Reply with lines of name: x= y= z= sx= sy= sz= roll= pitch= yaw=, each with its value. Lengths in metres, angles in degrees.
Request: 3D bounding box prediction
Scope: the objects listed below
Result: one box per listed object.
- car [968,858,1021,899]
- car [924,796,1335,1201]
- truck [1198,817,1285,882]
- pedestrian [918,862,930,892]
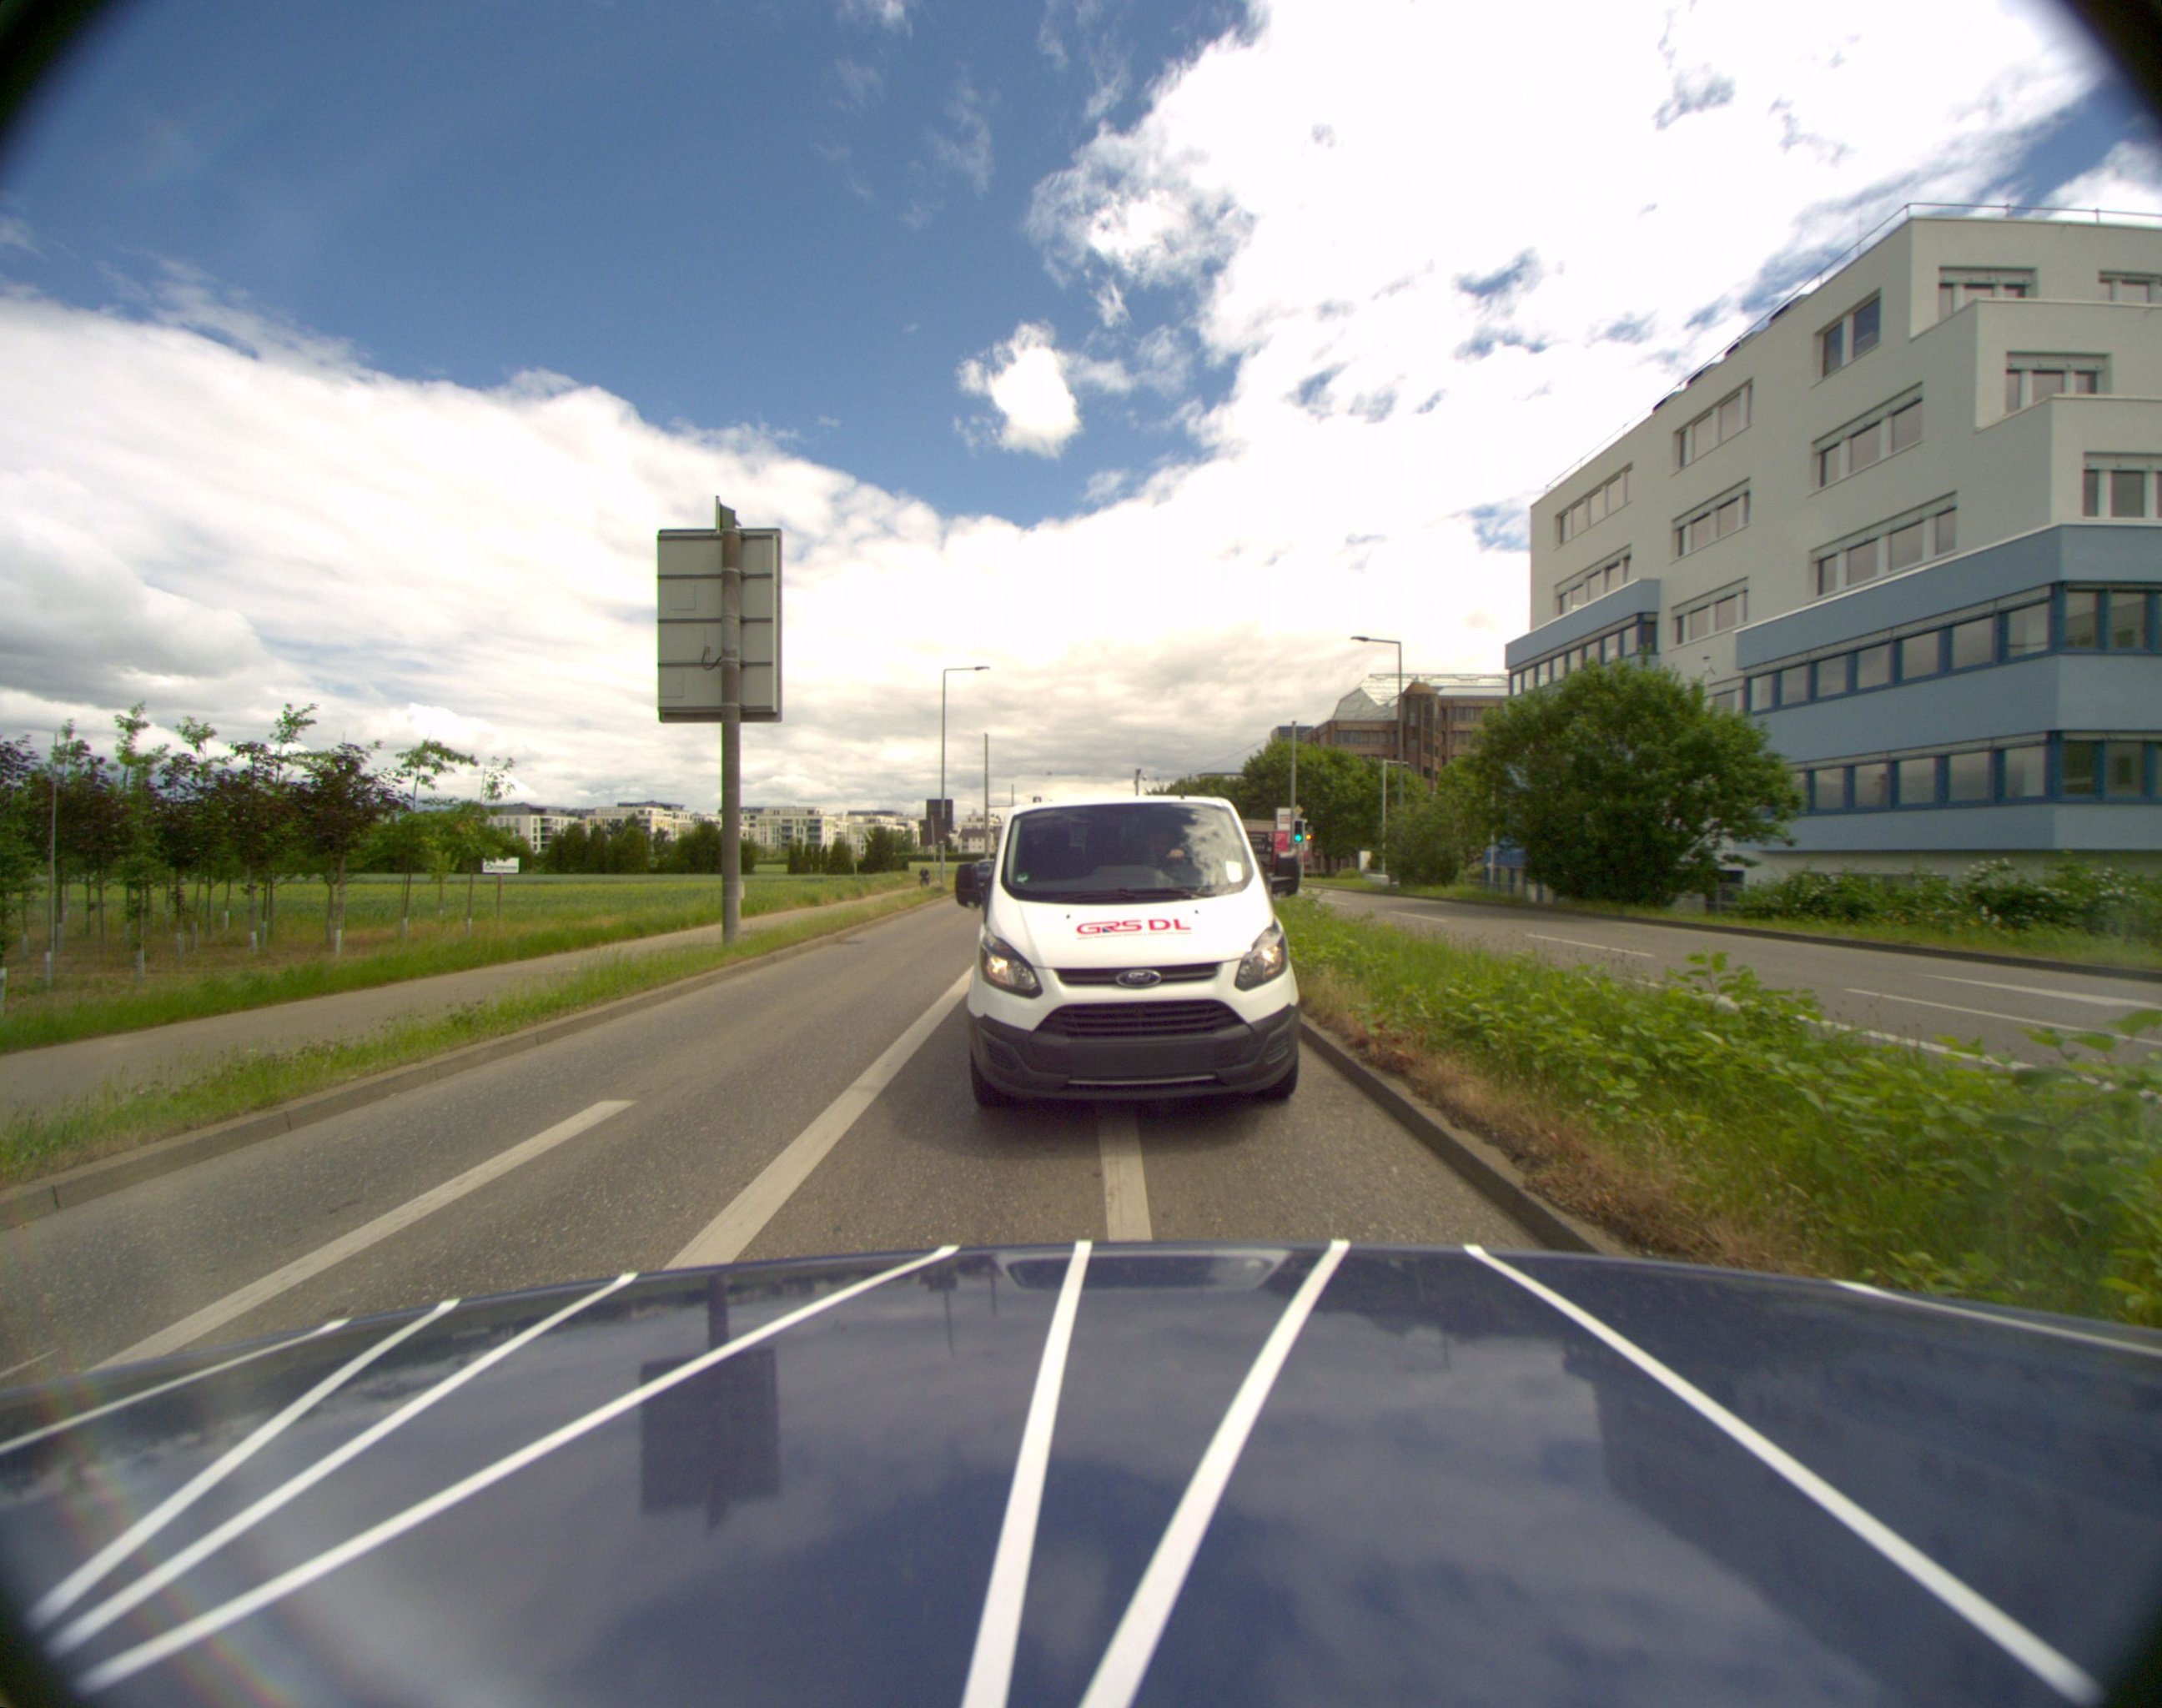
car: x=-3.342 y=0.906 z=29.821 sx=1.683 sy=1.410 sz=3.739 roll=-1 pitch=1 yaw=-1
car: x=0.272 y=0.710 z=6.254 sx=1.968 sy=1.938 sz=5.055 roll=-2 pitch=0 yaw=1
truck: x=9.318 y=-0.294 z=45.402 sx=3.176 sy=3.497 sz=9.525 roll=0 pitch=1 yaw=0
pedestrian: x=-9.130 y=1.320 z=44.278 sx=0.492 sy=1.693 sz=0.626 roll=-2 pitch=1 yaw=-1
